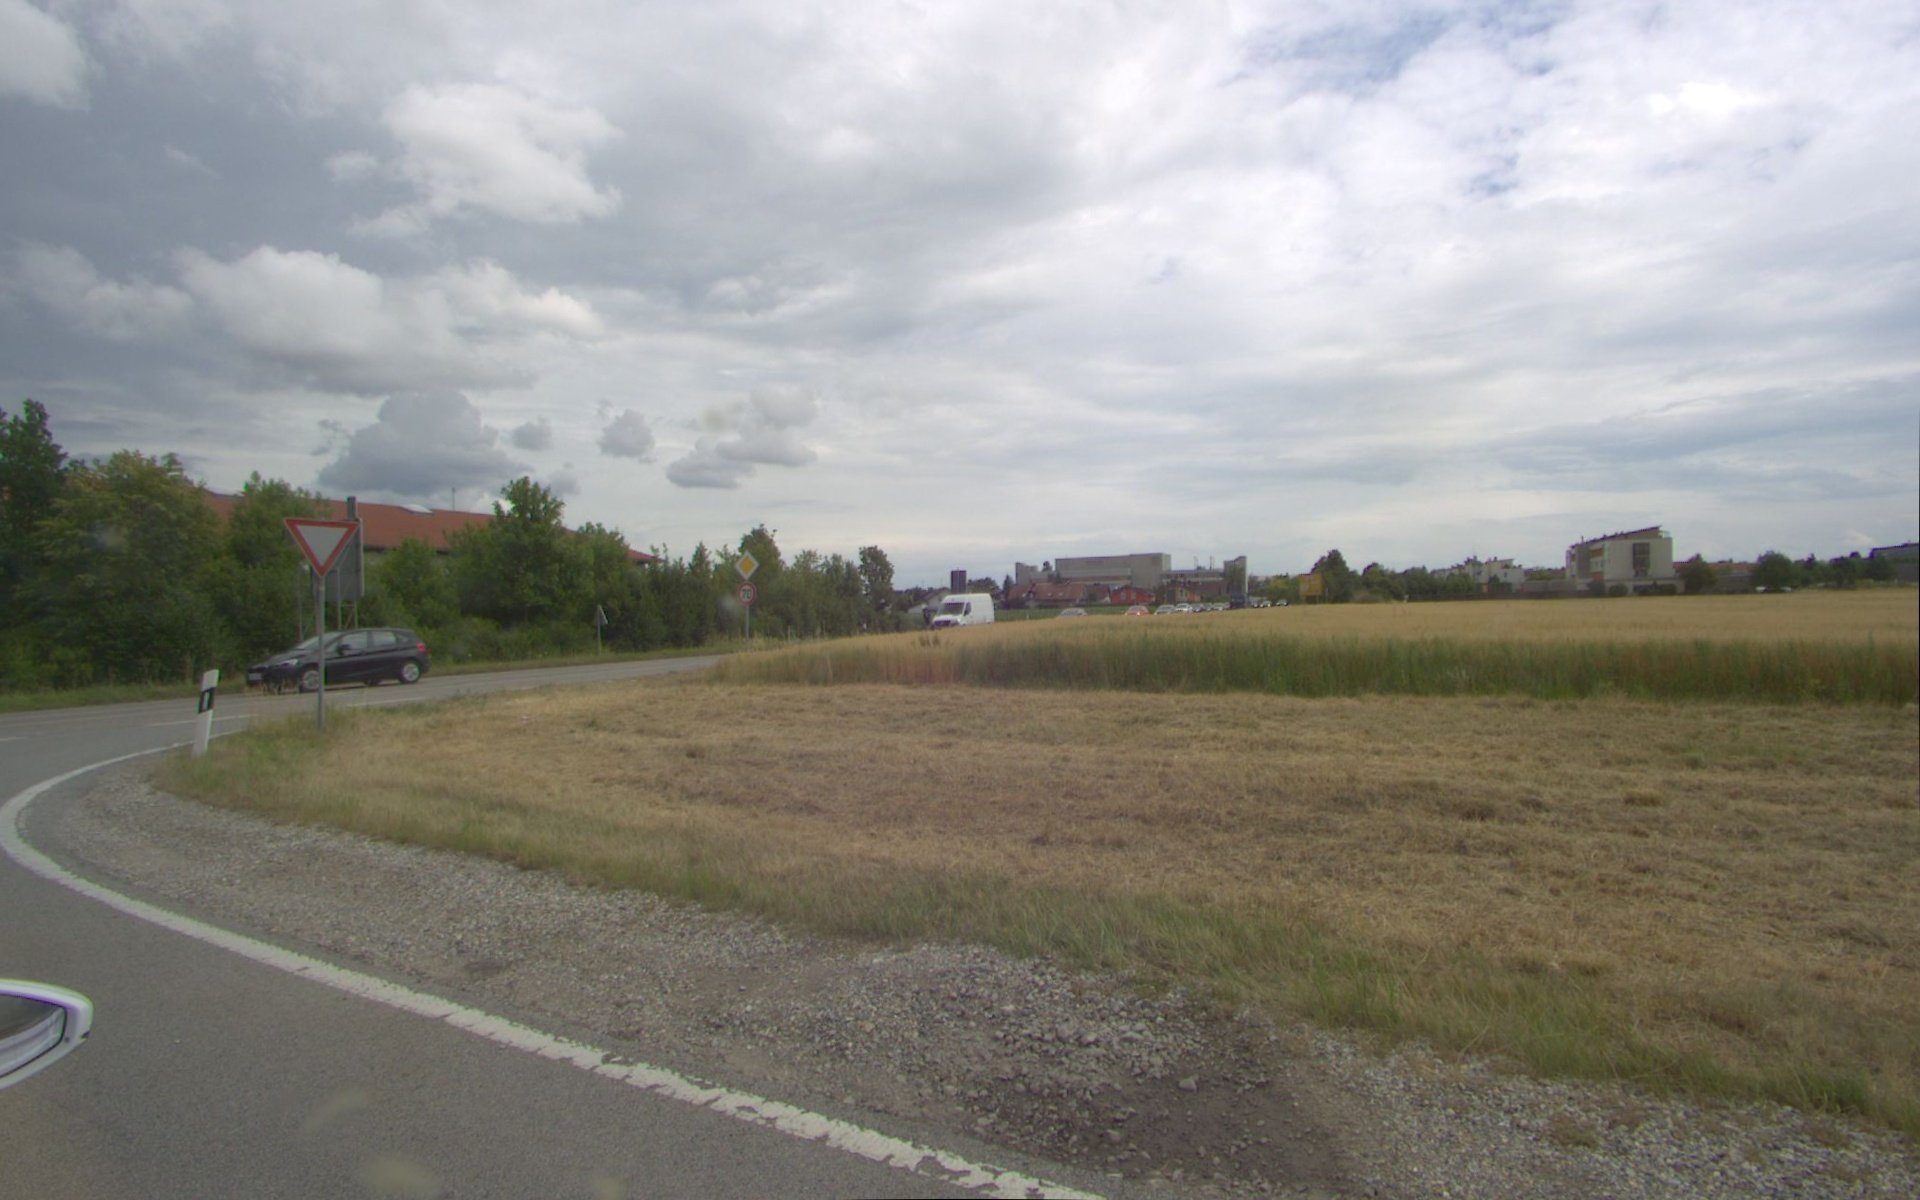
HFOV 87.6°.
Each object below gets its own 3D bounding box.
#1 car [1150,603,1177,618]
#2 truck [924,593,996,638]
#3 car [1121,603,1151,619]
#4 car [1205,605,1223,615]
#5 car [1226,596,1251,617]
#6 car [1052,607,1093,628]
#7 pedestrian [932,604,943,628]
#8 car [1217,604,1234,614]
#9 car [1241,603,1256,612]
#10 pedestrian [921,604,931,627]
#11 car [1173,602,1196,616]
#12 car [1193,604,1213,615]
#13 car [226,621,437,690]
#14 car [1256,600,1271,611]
[{"bbox_3d":[21.411,1.121,105.231,1.826,1.486,3.986,-1,0,25],"label":"car"},{"bbox_3d":[0.071,0.915,61.629,1.968,2.609,5.995,-2,-1,25],"label":"truck"},{"bbox_3d":[16.946,1.057,96.497,1.826,1.486,3.986,-1,0,25],"label":"car"},{"bbox_3d":[34.252,1.375,134.926,1.826,1.287,3.518,-1,0,24],"label":"car"},{"bbox_3d":[36.141,0.795,129.804,2.115,2.675,5.549,0,1,26],"label":"car"},{"bbox_3d":[8.948,1.363,79.190,1.968,1.483,4.146,-2,0,25],"label":"car"},{"bbox_3d":[-1.632,1.136,72.705,0.521,1.705,0.626,0,2,20],"label":"pedestrian"},{"bbox_3d":[37.902,1.319,142.976,1.826,1.287,3.518,-1,0,24],"label":"car"},{"bbox_3d":[46.385,1.207,160.948,1.826,1.287,3.518,-1,0,24],"label":"car"},{"bbox_3d":[-2.505,1.126,73.039,0.521,1.705,0.626,0,2,20],"label":"pedestrian"},{"bbox_3d":[25.984,1.052,115.708,1.826,1.486,3.987,-1,0,24],"label":"car"},{"bbox_3d":[31.240,1.211,128.552,1.826,1.287,3.518,-1,0,24],"label":"car"},{"bbox_3d":[-16.292,1.382,26.221,1.967,1.506,4.287,-2,0,24],"label":"car"},{"bbox_3d":[54.023,0.970,178.206,1.967,2.041,3.986,0,1,24],"label":"car"}]
